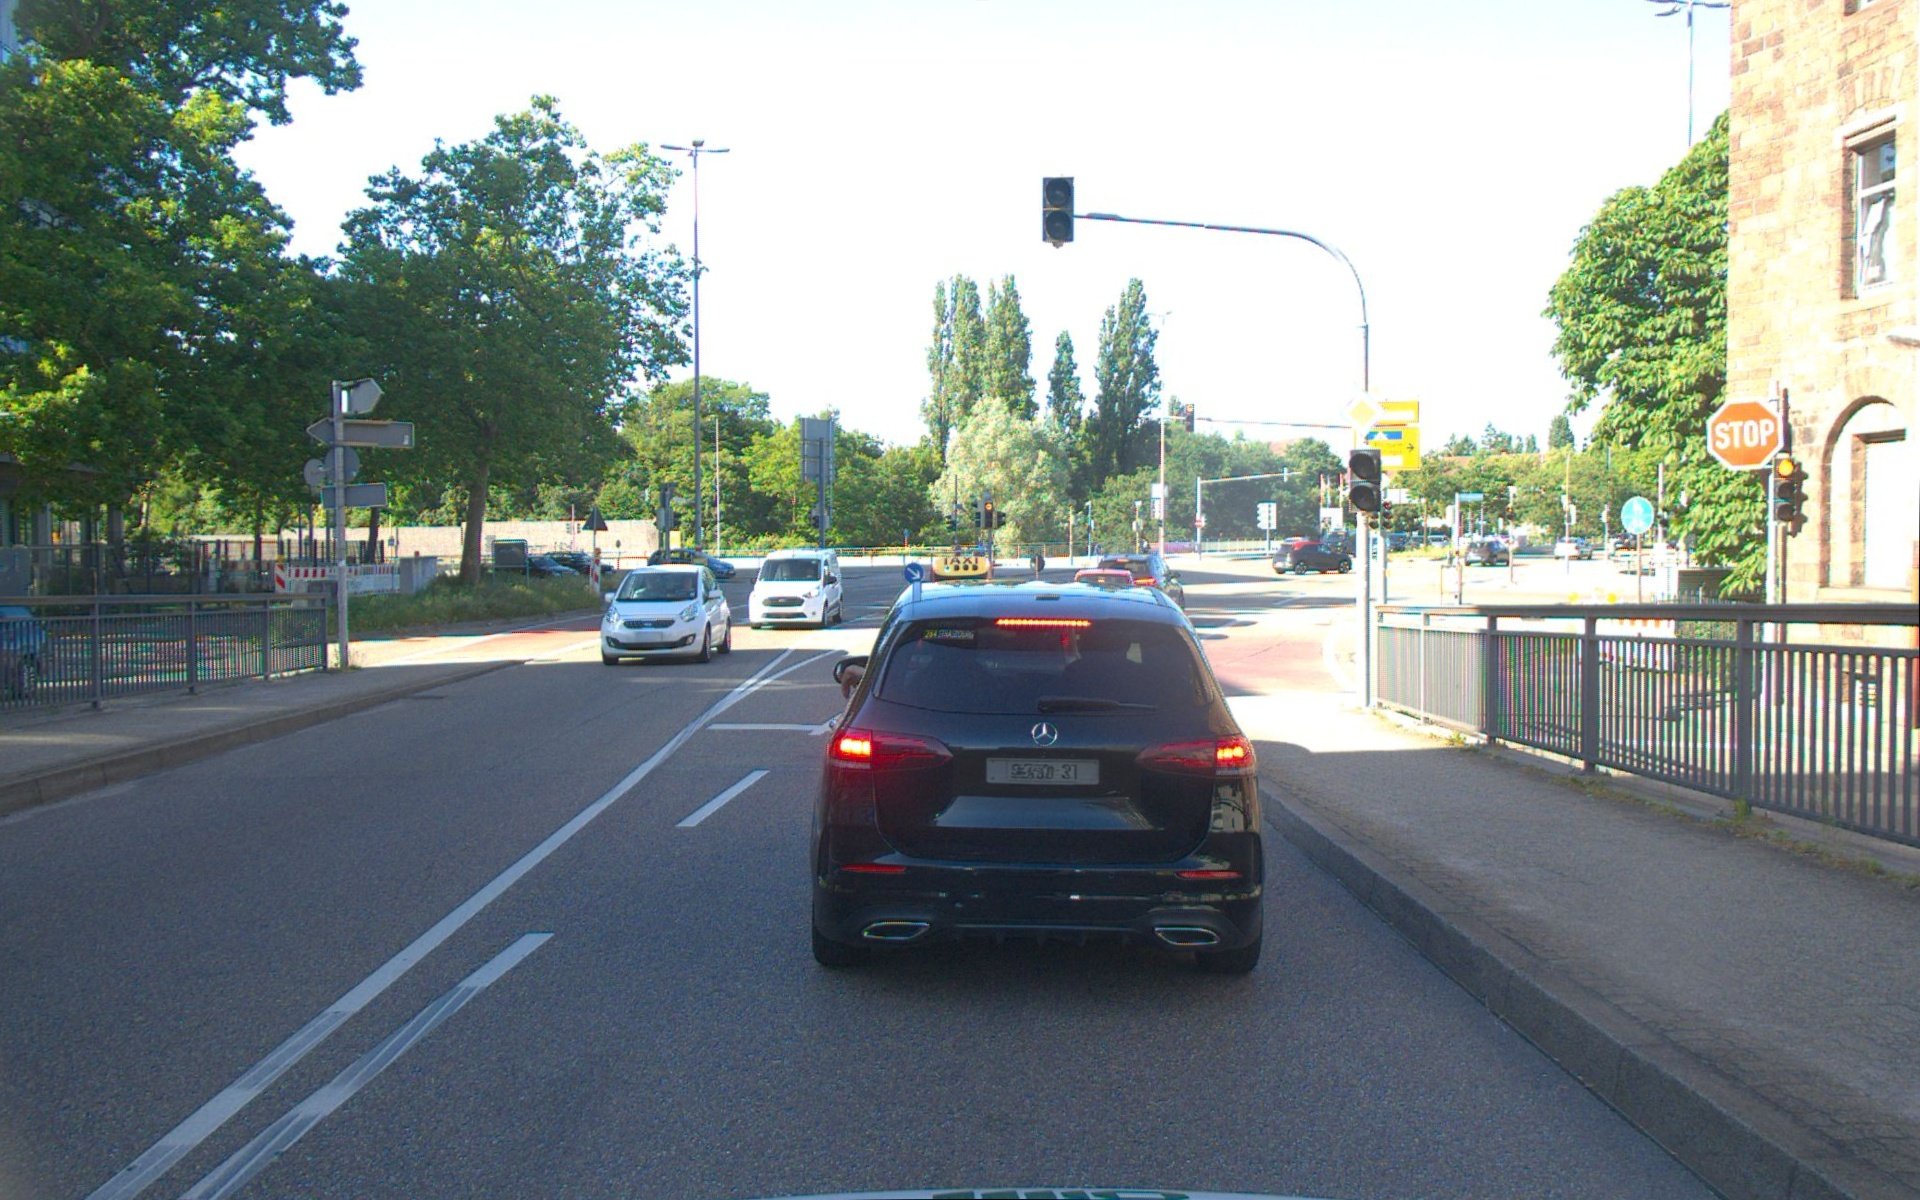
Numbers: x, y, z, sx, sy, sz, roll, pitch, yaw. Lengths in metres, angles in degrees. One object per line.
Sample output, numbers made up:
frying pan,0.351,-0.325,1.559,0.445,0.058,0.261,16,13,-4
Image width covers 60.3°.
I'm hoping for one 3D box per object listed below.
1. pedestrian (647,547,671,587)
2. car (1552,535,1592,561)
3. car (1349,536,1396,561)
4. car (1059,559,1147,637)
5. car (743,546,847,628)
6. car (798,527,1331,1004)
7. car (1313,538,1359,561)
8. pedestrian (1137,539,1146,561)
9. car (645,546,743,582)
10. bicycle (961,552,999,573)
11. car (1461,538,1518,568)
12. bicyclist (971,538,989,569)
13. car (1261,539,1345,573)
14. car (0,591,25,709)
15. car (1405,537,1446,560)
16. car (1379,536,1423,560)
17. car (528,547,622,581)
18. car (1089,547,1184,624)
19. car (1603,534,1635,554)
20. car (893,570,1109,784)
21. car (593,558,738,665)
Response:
pedestrian,-11.837,-1.289,65.055,0.690,1.552,0.744,1,1,9
car,40.140,-3.401,108.404,1.849,1.658,3.993,0,2,30
car,28.175,-3.532,112.853,1.846,1.605,3.988,1,2,34
car,3.232,-0.092,36.848,1.685,1.548,3.490,0,3,9
car,-3.920,-0.371,40.020,1.878,1.825,4.900,-1,2,1
car,0.318,0.555,7.760,1.840,1.641,3.999,1,1,-2
car,26.381,-3.544,115.921,1.846,1.605,3.988,1,2,34
pedestrian,13.079,-3.621,119.282,0.443,1.613,0.499,0,2,39
car,-12.800,-1.729,79.570,4.306,1.658,1.891,0,1,21
bicycle,1.040,-1.948,86.096,1.958,1.068,0.523,-2,1,-25
car,30.473,-2.720,95.149,1.855,1.658,3.981,1,2,39
bicyclist,1.039,-2.440,86.074,0.794,1.578,0.523,-2,1,-25
car,17.292,-2.217,83.363,3.948,1.658,1.871,-1,2,-32
car,-15.016,0.790,22.976,1.814,1.722,4.000,0,2,-2
car,35.010,-3.875,124.326,1.846,1.605,3.988,1,2,34
car,31.519,-3.724,118.101,1.846,1.605,3.988,1,2,34
car,-19.167,-1.803,82.330,4.310,1.658,1.890,0,1,25
car,4.597,-0.410,42.487,1.685,1.843,4.301,0,2,16
car,56.250,-4.775,141.096,1.851,1.574,3.989,1,0,32
car,0.338,0.557,14.309,1.606,1.556,3.475,-1,2,1
car,-4.985,0.132,28.471,1.741,1.663,4.001,-1,2,0
